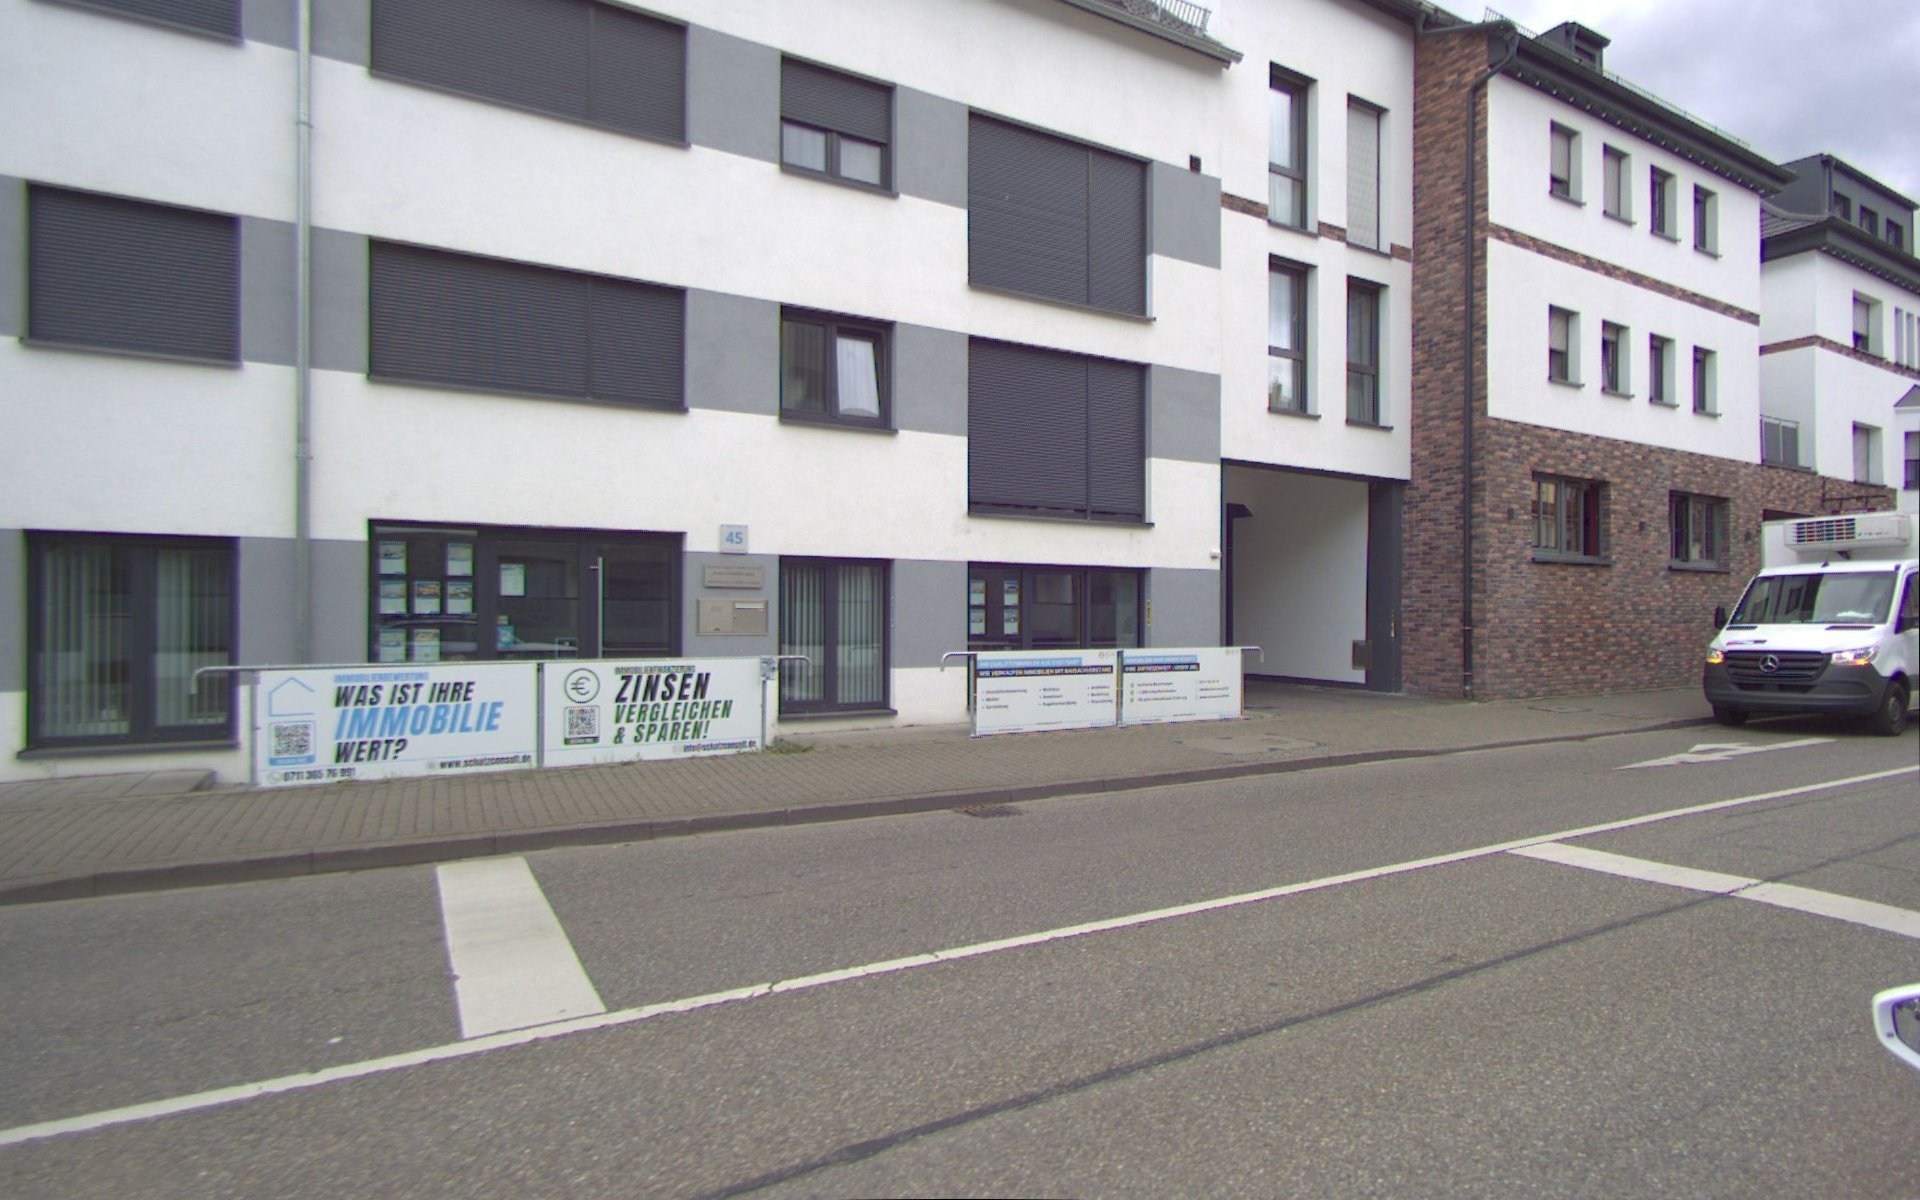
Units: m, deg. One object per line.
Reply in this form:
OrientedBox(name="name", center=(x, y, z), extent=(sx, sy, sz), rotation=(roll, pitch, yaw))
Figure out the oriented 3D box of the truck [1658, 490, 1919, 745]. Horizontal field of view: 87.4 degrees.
OrientedBox(name="truck", center=(13.833, 0.256, 14.959), extent=(8.267, 2.992, 2.423), rotation=(0, -2, -31))
